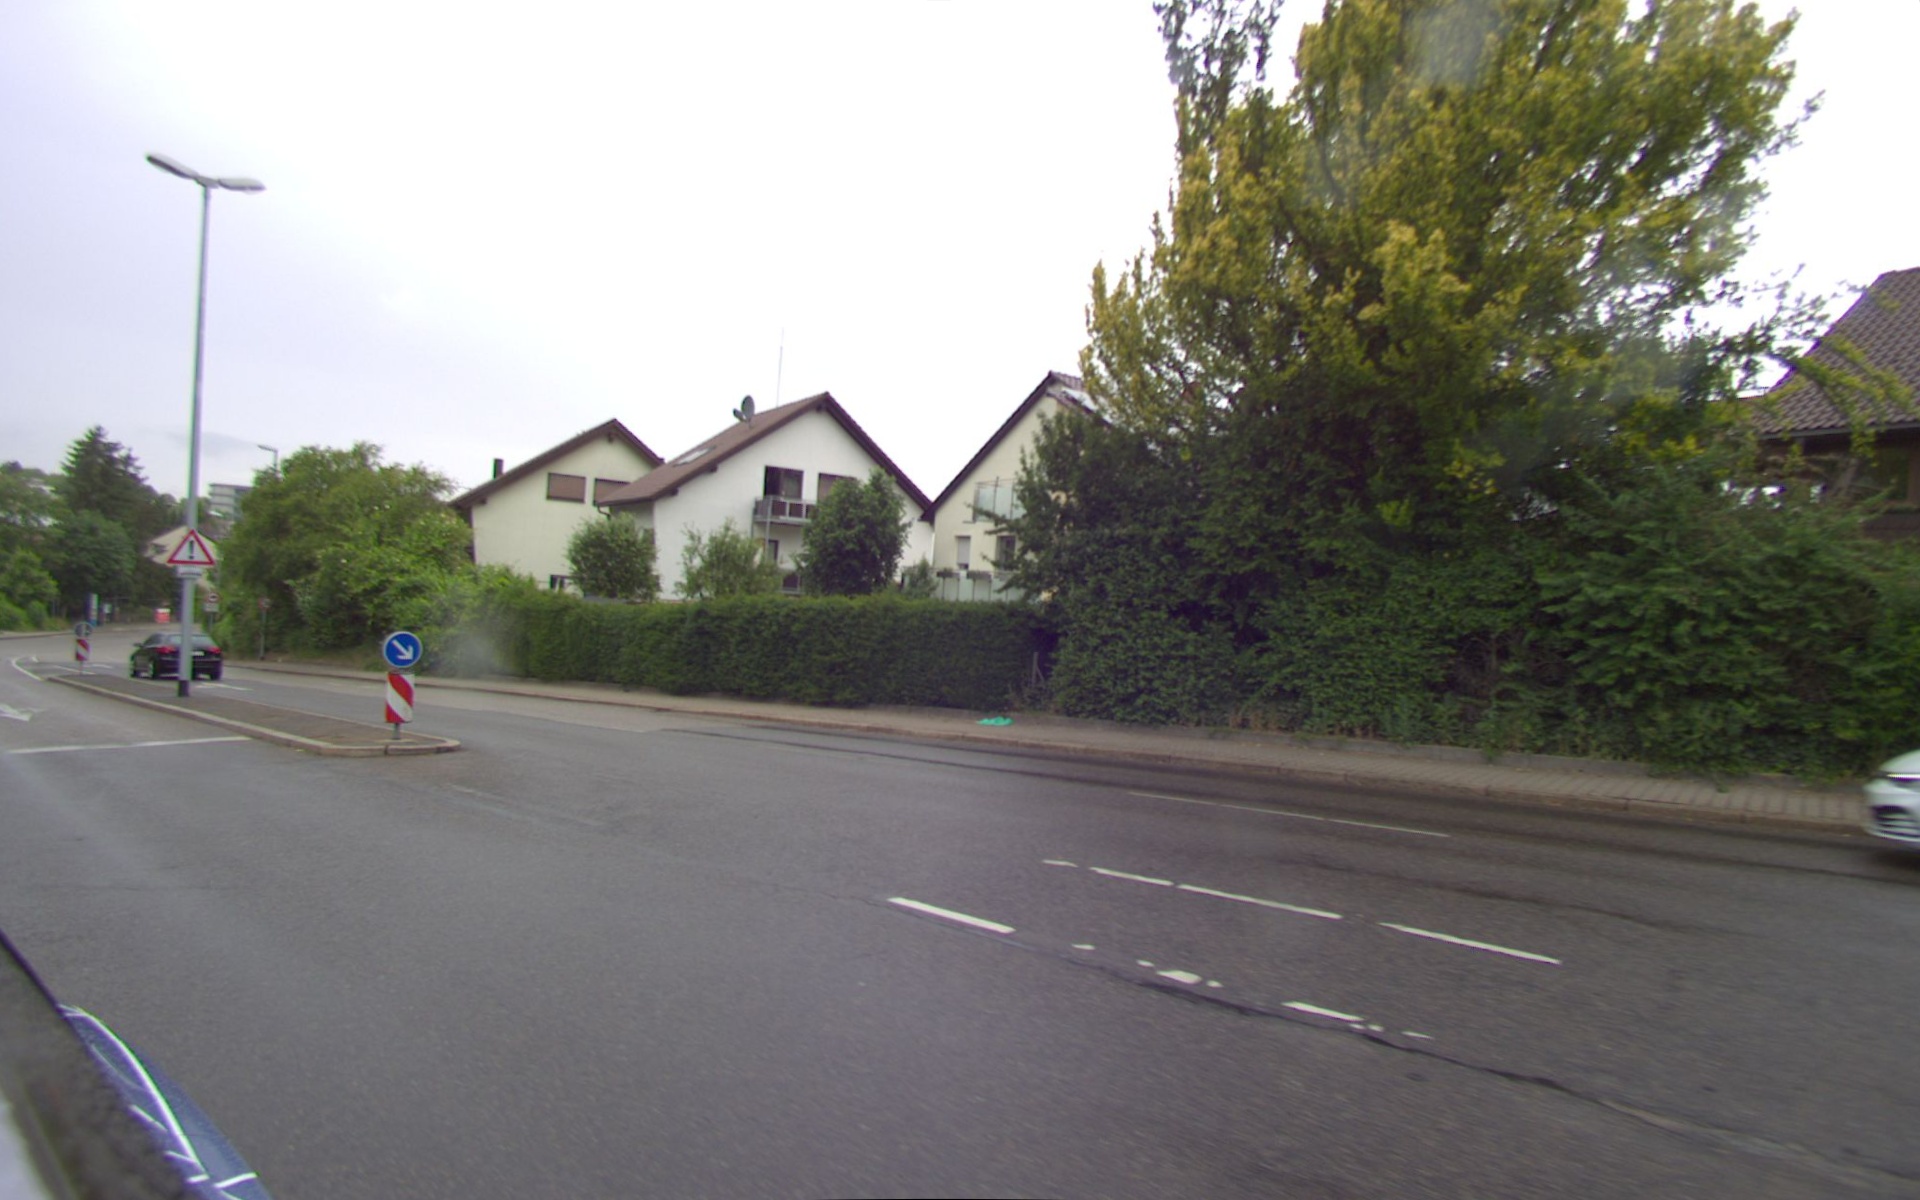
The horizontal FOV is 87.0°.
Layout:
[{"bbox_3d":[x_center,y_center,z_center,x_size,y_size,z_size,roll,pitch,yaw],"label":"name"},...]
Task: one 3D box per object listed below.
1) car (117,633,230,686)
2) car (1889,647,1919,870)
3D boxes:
[{"bbox_3d":[-23.919,1.779,30.751,3.829,1.504,1.844,-1,-4,39],"label":"car"},{"bbox_3d":[8.516,1.100,6.154,4.155,1.497,1.709,-1,-5,42],"label":"car"}]
